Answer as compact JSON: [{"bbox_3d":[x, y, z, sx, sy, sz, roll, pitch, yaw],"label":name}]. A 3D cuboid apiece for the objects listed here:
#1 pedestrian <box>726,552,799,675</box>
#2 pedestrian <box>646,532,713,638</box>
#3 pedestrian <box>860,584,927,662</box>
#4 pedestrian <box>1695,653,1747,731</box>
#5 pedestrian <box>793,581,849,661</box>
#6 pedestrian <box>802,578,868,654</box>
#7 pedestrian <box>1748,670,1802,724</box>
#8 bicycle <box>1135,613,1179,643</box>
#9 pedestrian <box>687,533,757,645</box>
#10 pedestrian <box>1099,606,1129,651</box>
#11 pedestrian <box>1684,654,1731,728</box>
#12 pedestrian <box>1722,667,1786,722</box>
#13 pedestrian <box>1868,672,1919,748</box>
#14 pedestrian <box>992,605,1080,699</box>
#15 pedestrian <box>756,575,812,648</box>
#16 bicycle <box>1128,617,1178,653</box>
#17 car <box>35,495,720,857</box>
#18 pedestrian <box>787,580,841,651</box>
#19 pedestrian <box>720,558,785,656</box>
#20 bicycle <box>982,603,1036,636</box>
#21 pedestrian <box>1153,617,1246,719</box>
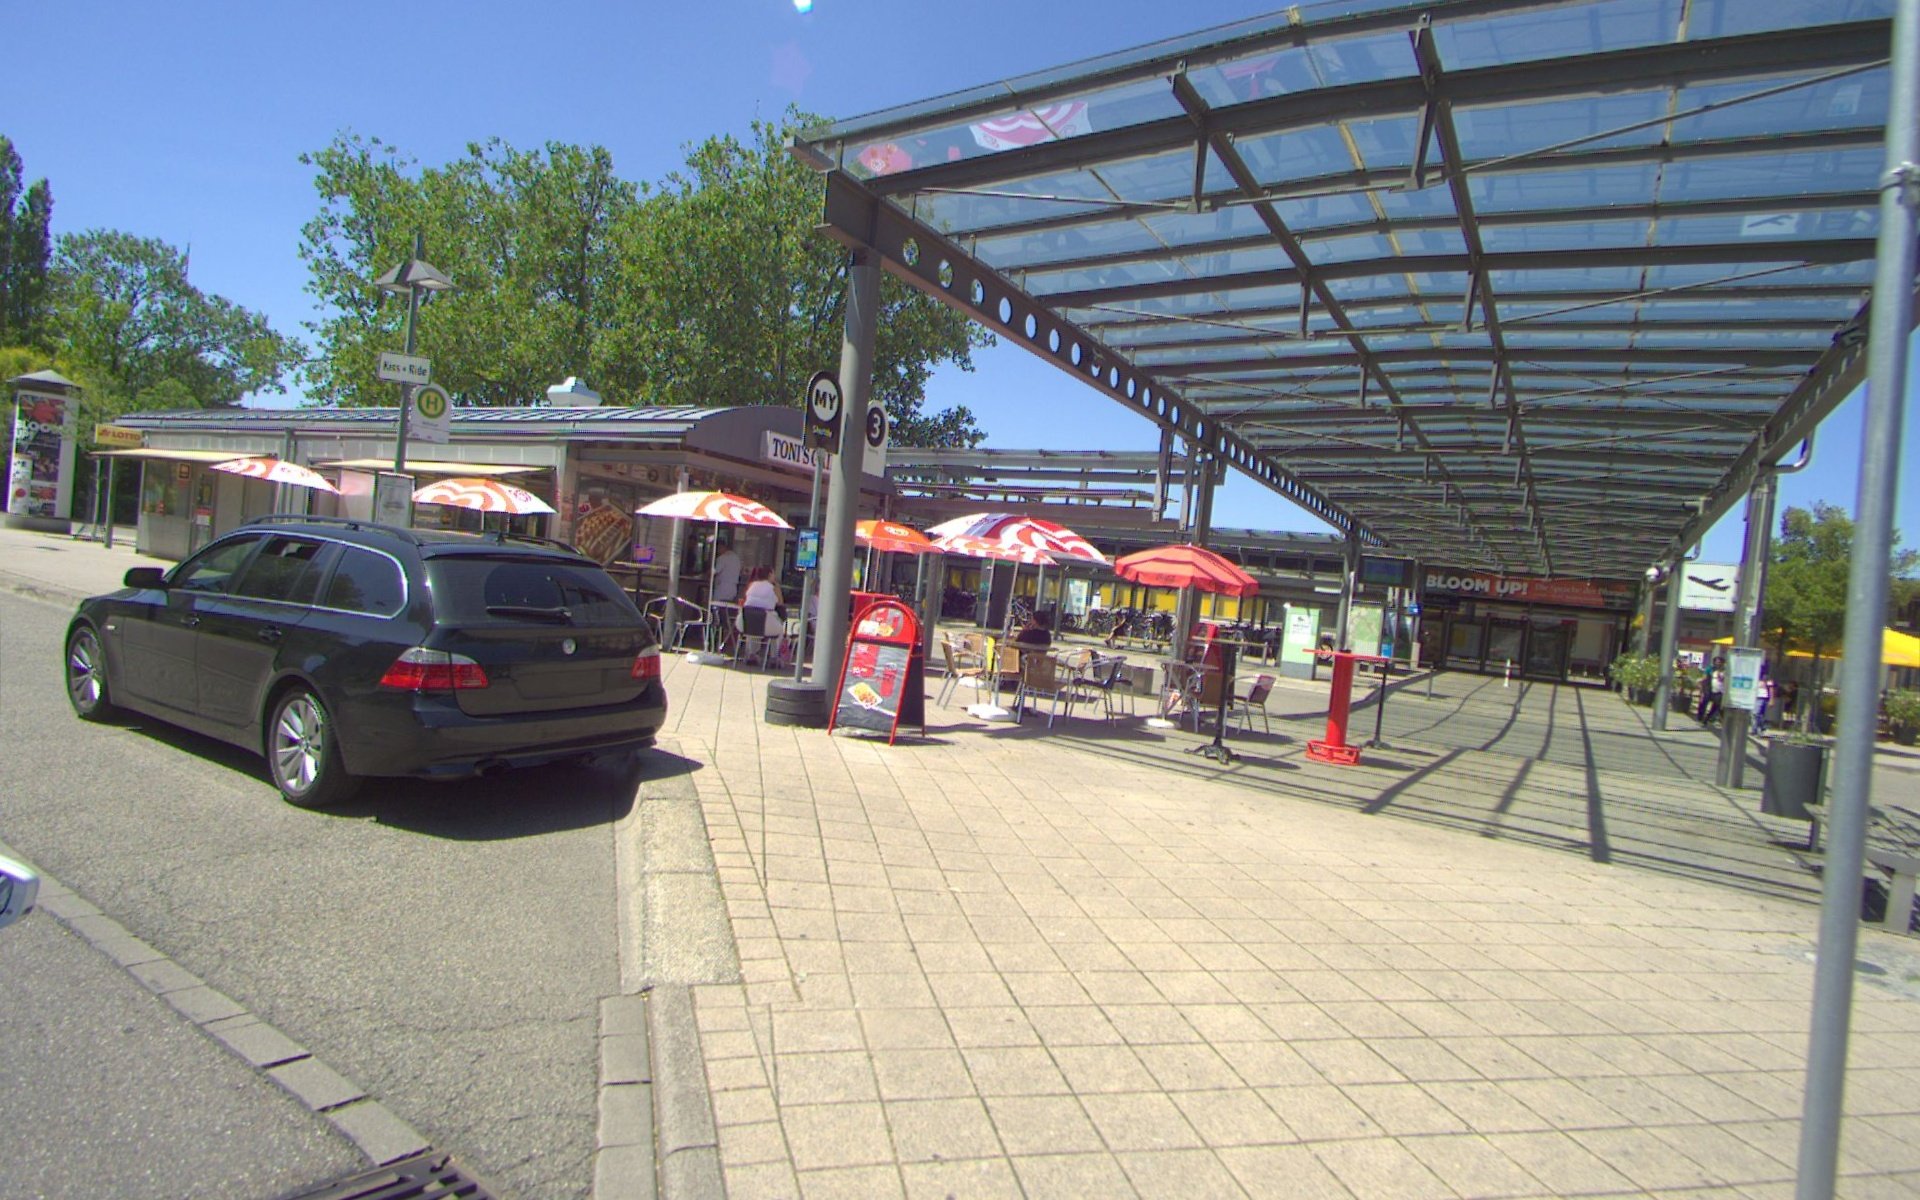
[{"bbox_3d":[-2.482,0.158,12.723,0.676,1.436,0.894,6,1,-5],"label":"pedestrian"},{"bbox_3d":[-4.911,-0.261,17.621,0.695,1.760,0.686,7,2,32],"label":"pedestrian"},{"bbox_3d":[-1.131,0.401,17.172,0.725,1.219,0.760,6,-1,32],"label":"pedestrian"},{"bbox_3d":[18.847,2.263,24.919,0.620,1.832,0.596,6,2,0],"label":"pedestrian"},{"bbox_3d":[-2.197,0.324,15.990,0.676,1.176,0.894,6,1,-2],"label":"pedestrian"},{"bbox_3d":[-2.208,0.293,17.794,0.725,1.219,0.760,6,-1,32],"label":"pedestrian"},{"bbox_3d":[23.709,2.805,29.280,1.035,1.372,0.973,5,3,34],"label":"pedestrian"},{"bbox_3d":[8.583,1.226,43.697,0.951,1.015,2.792,6,-2,30],"label":"bicycle"},{"bbox_3d":[-3.963,-0.176,16.777,0.695,1.760,0.686,7,1,32],"label":"pedestrian"},{"bbox_3d":[5.077,0.924,33.203,0.665,1.413,0.625,6,3,32],"label":"pedestrian"},{"bbox_3d":[19.558,2.385,26.322,0.684,1.832,0.625,5,2,-36],"label":"pedestrian"},{"bbox_3d":[22.481,2.651,28.506,0.958,1.372,1.051,4,3,11],"label":"pedestrian"},{"bbox_3d":[24.823,2.882,26.415,1.064,1.870,1.081,7,1,30],"label":"pedestrian"},{"bbox_3d":[1.060,0.717,13.967,0.881,1.176,0.686,7,1,37],"label":"pedestrian"},{"bbox_3d":[-3.149,0.208,18.006,0.582,1.219,0.656,6,-1,32],"label":"pedestrian"},{"bbox_3d":[6.805,1.238,35.357,0.798,1.015,2.792,6,-2,30],"label":"bicycle"},{"bbox_3d":[-4.000,0.235,6.644,4.646,1.481,1.926,6,3,32],"label":"car"},{"bbox_3d":[-2.717,0.284,18.697,0.653,1.219,0.585,7,-1,-42],"label":"pedestrian"},{"bbox_3d":[-3.034,0.104,14.797,0.676,1.329,0.894,6,1,-2],"label":"pedestrian"},{"bbox_3d":[1.916,0.758,38.449,0.798,1.015,2.792,6,-2,30],"label":"bicycle"},{"bbox_3d":[3.372,0.950,14.143,0.881,1.294,0.845,7,1,36],"label":"pedestrian"}]
